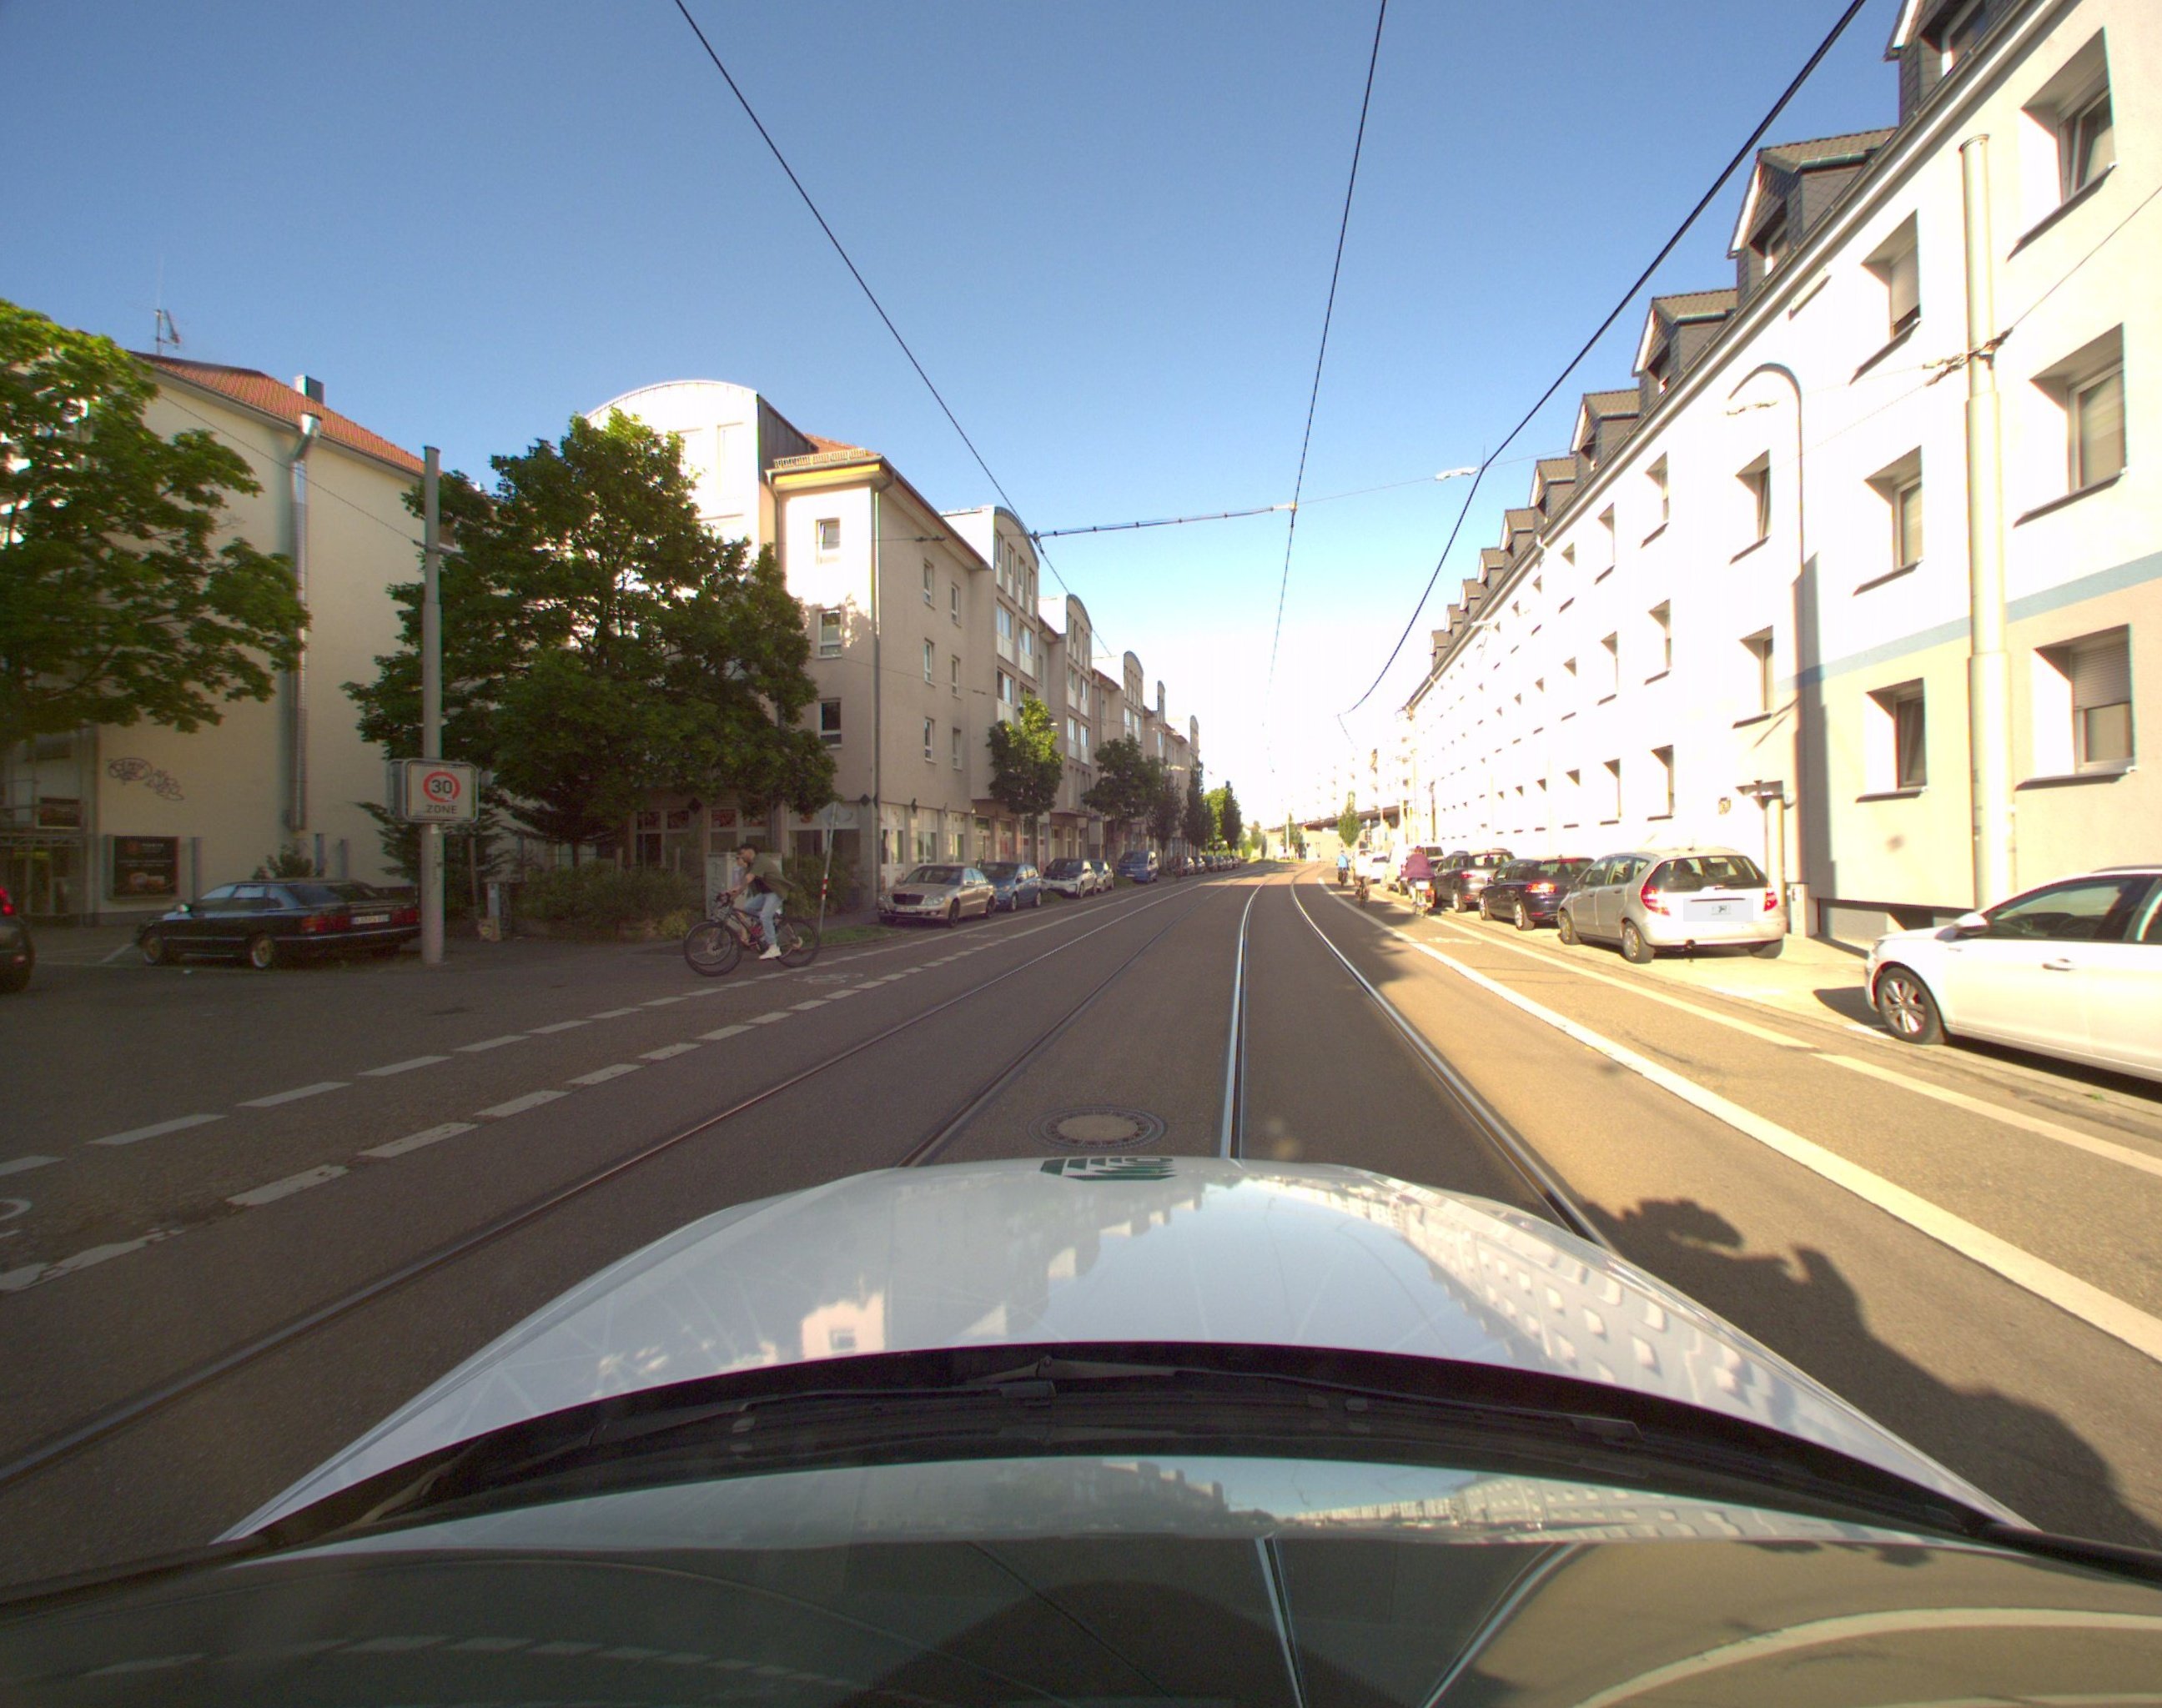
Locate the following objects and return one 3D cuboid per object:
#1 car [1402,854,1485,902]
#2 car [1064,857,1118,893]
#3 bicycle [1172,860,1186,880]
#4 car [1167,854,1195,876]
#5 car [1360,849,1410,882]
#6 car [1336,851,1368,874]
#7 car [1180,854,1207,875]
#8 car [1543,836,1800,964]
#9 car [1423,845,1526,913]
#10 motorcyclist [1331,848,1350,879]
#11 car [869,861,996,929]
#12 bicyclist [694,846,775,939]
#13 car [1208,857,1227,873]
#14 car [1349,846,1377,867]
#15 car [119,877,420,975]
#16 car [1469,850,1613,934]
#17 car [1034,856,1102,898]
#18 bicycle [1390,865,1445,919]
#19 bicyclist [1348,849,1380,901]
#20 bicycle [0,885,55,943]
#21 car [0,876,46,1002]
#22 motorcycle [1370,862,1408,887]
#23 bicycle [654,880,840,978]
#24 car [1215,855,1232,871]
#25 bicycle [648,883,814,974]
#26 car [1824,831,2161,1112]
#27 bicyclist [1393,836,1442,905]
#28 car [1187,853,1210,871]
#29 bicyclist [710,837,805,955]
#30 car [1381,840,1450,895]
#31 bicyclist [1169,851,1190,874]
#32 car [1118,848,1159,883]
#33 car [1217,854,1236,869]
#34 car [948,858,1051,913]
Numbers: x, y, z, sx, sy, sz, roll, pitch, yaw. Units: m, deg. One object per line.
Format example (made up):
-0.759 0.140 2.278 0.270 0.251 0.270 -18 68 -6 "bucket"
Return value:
12.046 0.823 27.286 1.783 1.484 3.791 -1 -3 13 "car"
0.540 0.947 38.810 1.818 1.593 4.013 -1 0 11 "car"
5.797 0.956 47.935 0.618 1.101 1.966 -3 -1 11 "bicycle"
7.760 0.819 62.993 1.653 1.618 4.015 -1 0 14 "car"
16.071 0.597 43.242 1.831 1.646 4.564 -1 0 13 "car"
20.253 0.617 60.967 1.831 1.646 3.979 -1 0 13 "car"
9.519 0.849 68.606 1.831 1.646 4.564 -1 0 13 "car"
8.793 0.607 12.581 1.742 1.571 3.918 -4 -1 13 "car"
10.849 0.632 22.719 1.649 1.670 3.917 -3 0 13 "car"
12.093 0.452 37.986 0.723 1.405 1.024 -1 0 11 "motorcyclist"
-3.565 0.940 20.376 1.733 1.443 4.013 0 0 11 "car"
-5.489 0.599 12.920 0.617 1.380 0.873 -6 -1 32 "bicyclist"
13.541 1.069 80.690 1.581 1.540 3.202 -1 0 13 "car"
24.416 0.230 70.620 1.831 1.756 4.564 -1 0 13 "car"
-13.538 1.200 13.596 4.517 1.388 1.722 -3 -1 19 "car"
9.716 0.725 17.541 1.580 1.537 4.022 -3 -1 13 "car"
-0.478 0.915 34.119 1.817 1.593 4.015 -1 0 14 "car"
8.493 0.913 20.639 0.815 1.236 2.470 0 0 11 "bicycle"
8.204 0.595 23.672 0.723 1.462 1.024 -1 0 11 "bicyclist"
-23.474 1.335 17.301 0.721 1.165 1.987 -1 2 1 "bicycle"
-15.070 1.093 9.958 3.452 1.533 1.566 -2 -1 11 "car"
14.219 0.938 37.634 0.493 1.144 1.755 -1 0 -28 "motorcycle"
-4.646 1.004 11.469 0.831 1.149 2.246 -4 -2 43 "bicycle"
14.834 0.903 84.746 1.581 1.540 3.202 -1 0 13 "car"
-5.438 1.133 12.827 0.831 1.149 2.247 -6 -1 31 "bicycle"
7.057 0.653 4.928 1.668 1.571 4.524 -3 0 12 "car"
8.436 0.411 20.456 0.928 1.676 0.972 -1 0 11 "bicyclist"
11.159 0.761 77.171 1.831 1.646 4.564 -1 0 13 "car"
-4.594 0.583 11.567 0.873 1.561 0.873 -5 -1 42 "bicyclist"
13.185 0.504 32.323 1.774 1.970 4.169 -3 0 13 "car"
5.803 0.512 48.021 1.176 1.330 1.098 -1 0 10 "bicyclist"
3.424 0.641 48.060 1.653 1.986 4.359 -1 0 14 "car"
16.227 0.802 90.758 1.831 1.646 3.710 -1 0 13 "car"
-2.490 0.949 26.028 1.815 1.489 4.018 -3 0 17 "car"
